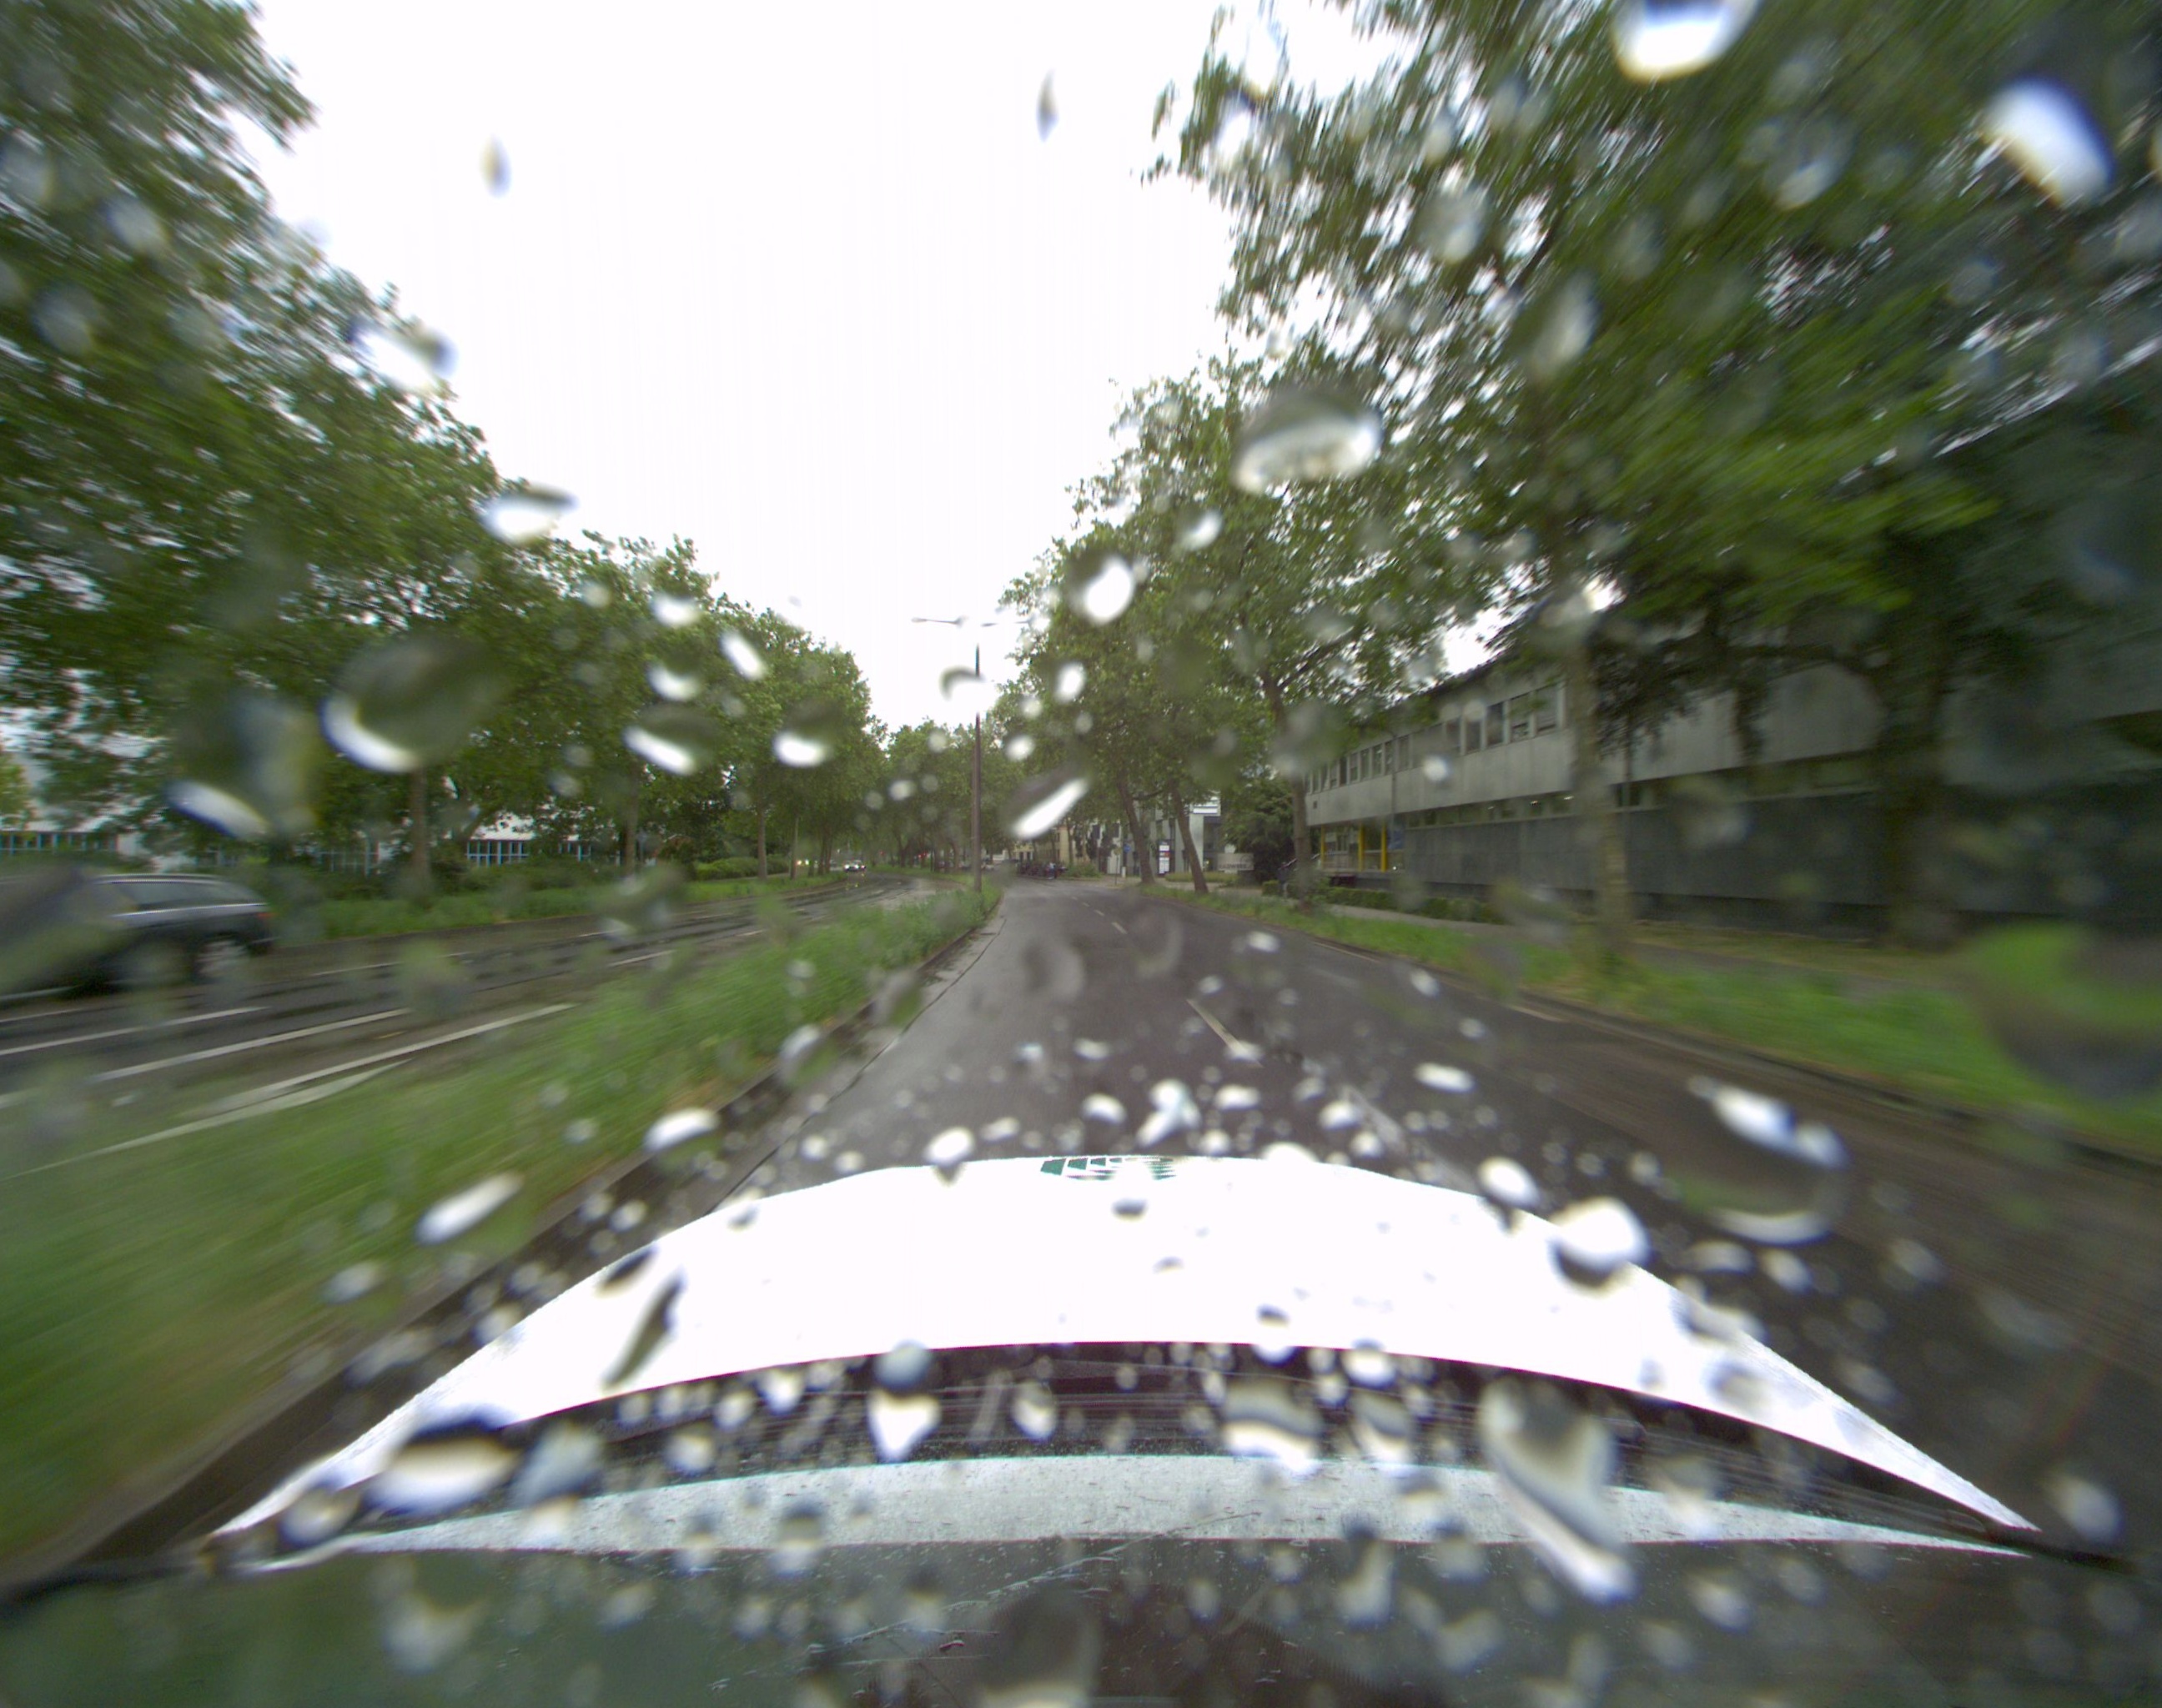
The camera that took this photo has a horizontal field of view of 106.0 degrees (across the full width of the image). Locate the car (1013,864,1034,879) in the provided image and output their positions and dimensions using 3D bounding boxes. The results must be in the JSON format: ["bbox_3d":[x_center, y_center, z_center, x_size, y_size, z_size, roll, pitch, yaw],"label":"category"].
[{"bbox_3d":[-7.321,2.258,103.621,1.996,1.782,3.982,1,1,-13],"label":"car"}]

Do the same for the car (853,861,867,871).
[{"bbox_3d":[-39.071,2.118,143.966,2.002,1.717,3.970,0,1,-23],"label":"car"}]

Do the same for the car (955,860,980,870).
[{"bbox_3d":[-20.944,2.046,150.125,4.010,1.831,1.982,0,1,-29],"label":"car"}]

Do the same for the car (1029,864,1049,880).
[{"bbox_3d":[-5.042,2.101,96.791,1.993,1.782,3.989,1,1,-8],"label":"car"}]

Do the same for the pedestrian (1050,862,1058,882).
[{"bbox_3d":[-2.777,1.793,82.547,0.703,1.950,0.858,1,0,4],"label":"pedestrian"}]

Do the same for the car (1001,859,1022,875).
[{"bbox_3d":[-9.840,1.822,115.094,2.126,2.088,3.979,1,1,-16],"label":"car"}]

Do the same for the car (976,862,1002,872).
[{"bbox_3d":[-15.405,2.181,136.725,3.888,1.493,1.872,0,1,-26],"label":"car"}]

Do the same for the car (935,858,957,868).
[{"bbox_3d":[-27.062,1.820,163.409,4.007,1.820,1.984,0,1,-26],"label":"car"}]

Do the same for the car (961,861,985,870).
[{"bbox_3d":[-19.224,2.025,145.312,3.888,1.504,1.872,0,1,-26],"label":"car"}]

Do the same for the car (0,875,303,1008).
[{"bbox_3d":[-12.364,0.965,9.747,1.794,1.407,4.456,1,-2,-1],"label":"car"}]

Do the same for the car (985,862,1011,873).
[{"bbox_3d":[-13.587,2.168,133.136,3.881,1.651,1.875,0,1,-21],"label":"car"}]

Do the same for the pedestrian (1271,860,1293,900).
[{"bbox_3d":[8.633,1.103,35.012,0.669,1.668,0.824,1,0,-3],"label":"pedestrian"}]

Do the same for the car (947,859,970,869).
[{"bbox_3d":[-23.301,1.965,155.214,4.007,1.820,1.984,0,1,-26],"label":"car"}]

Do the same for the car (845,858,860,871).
[{"bbox_3d":[-36.167,1.628,128.685,1.988,2.013,3.973,0,1,-20],"label":"car"}]
